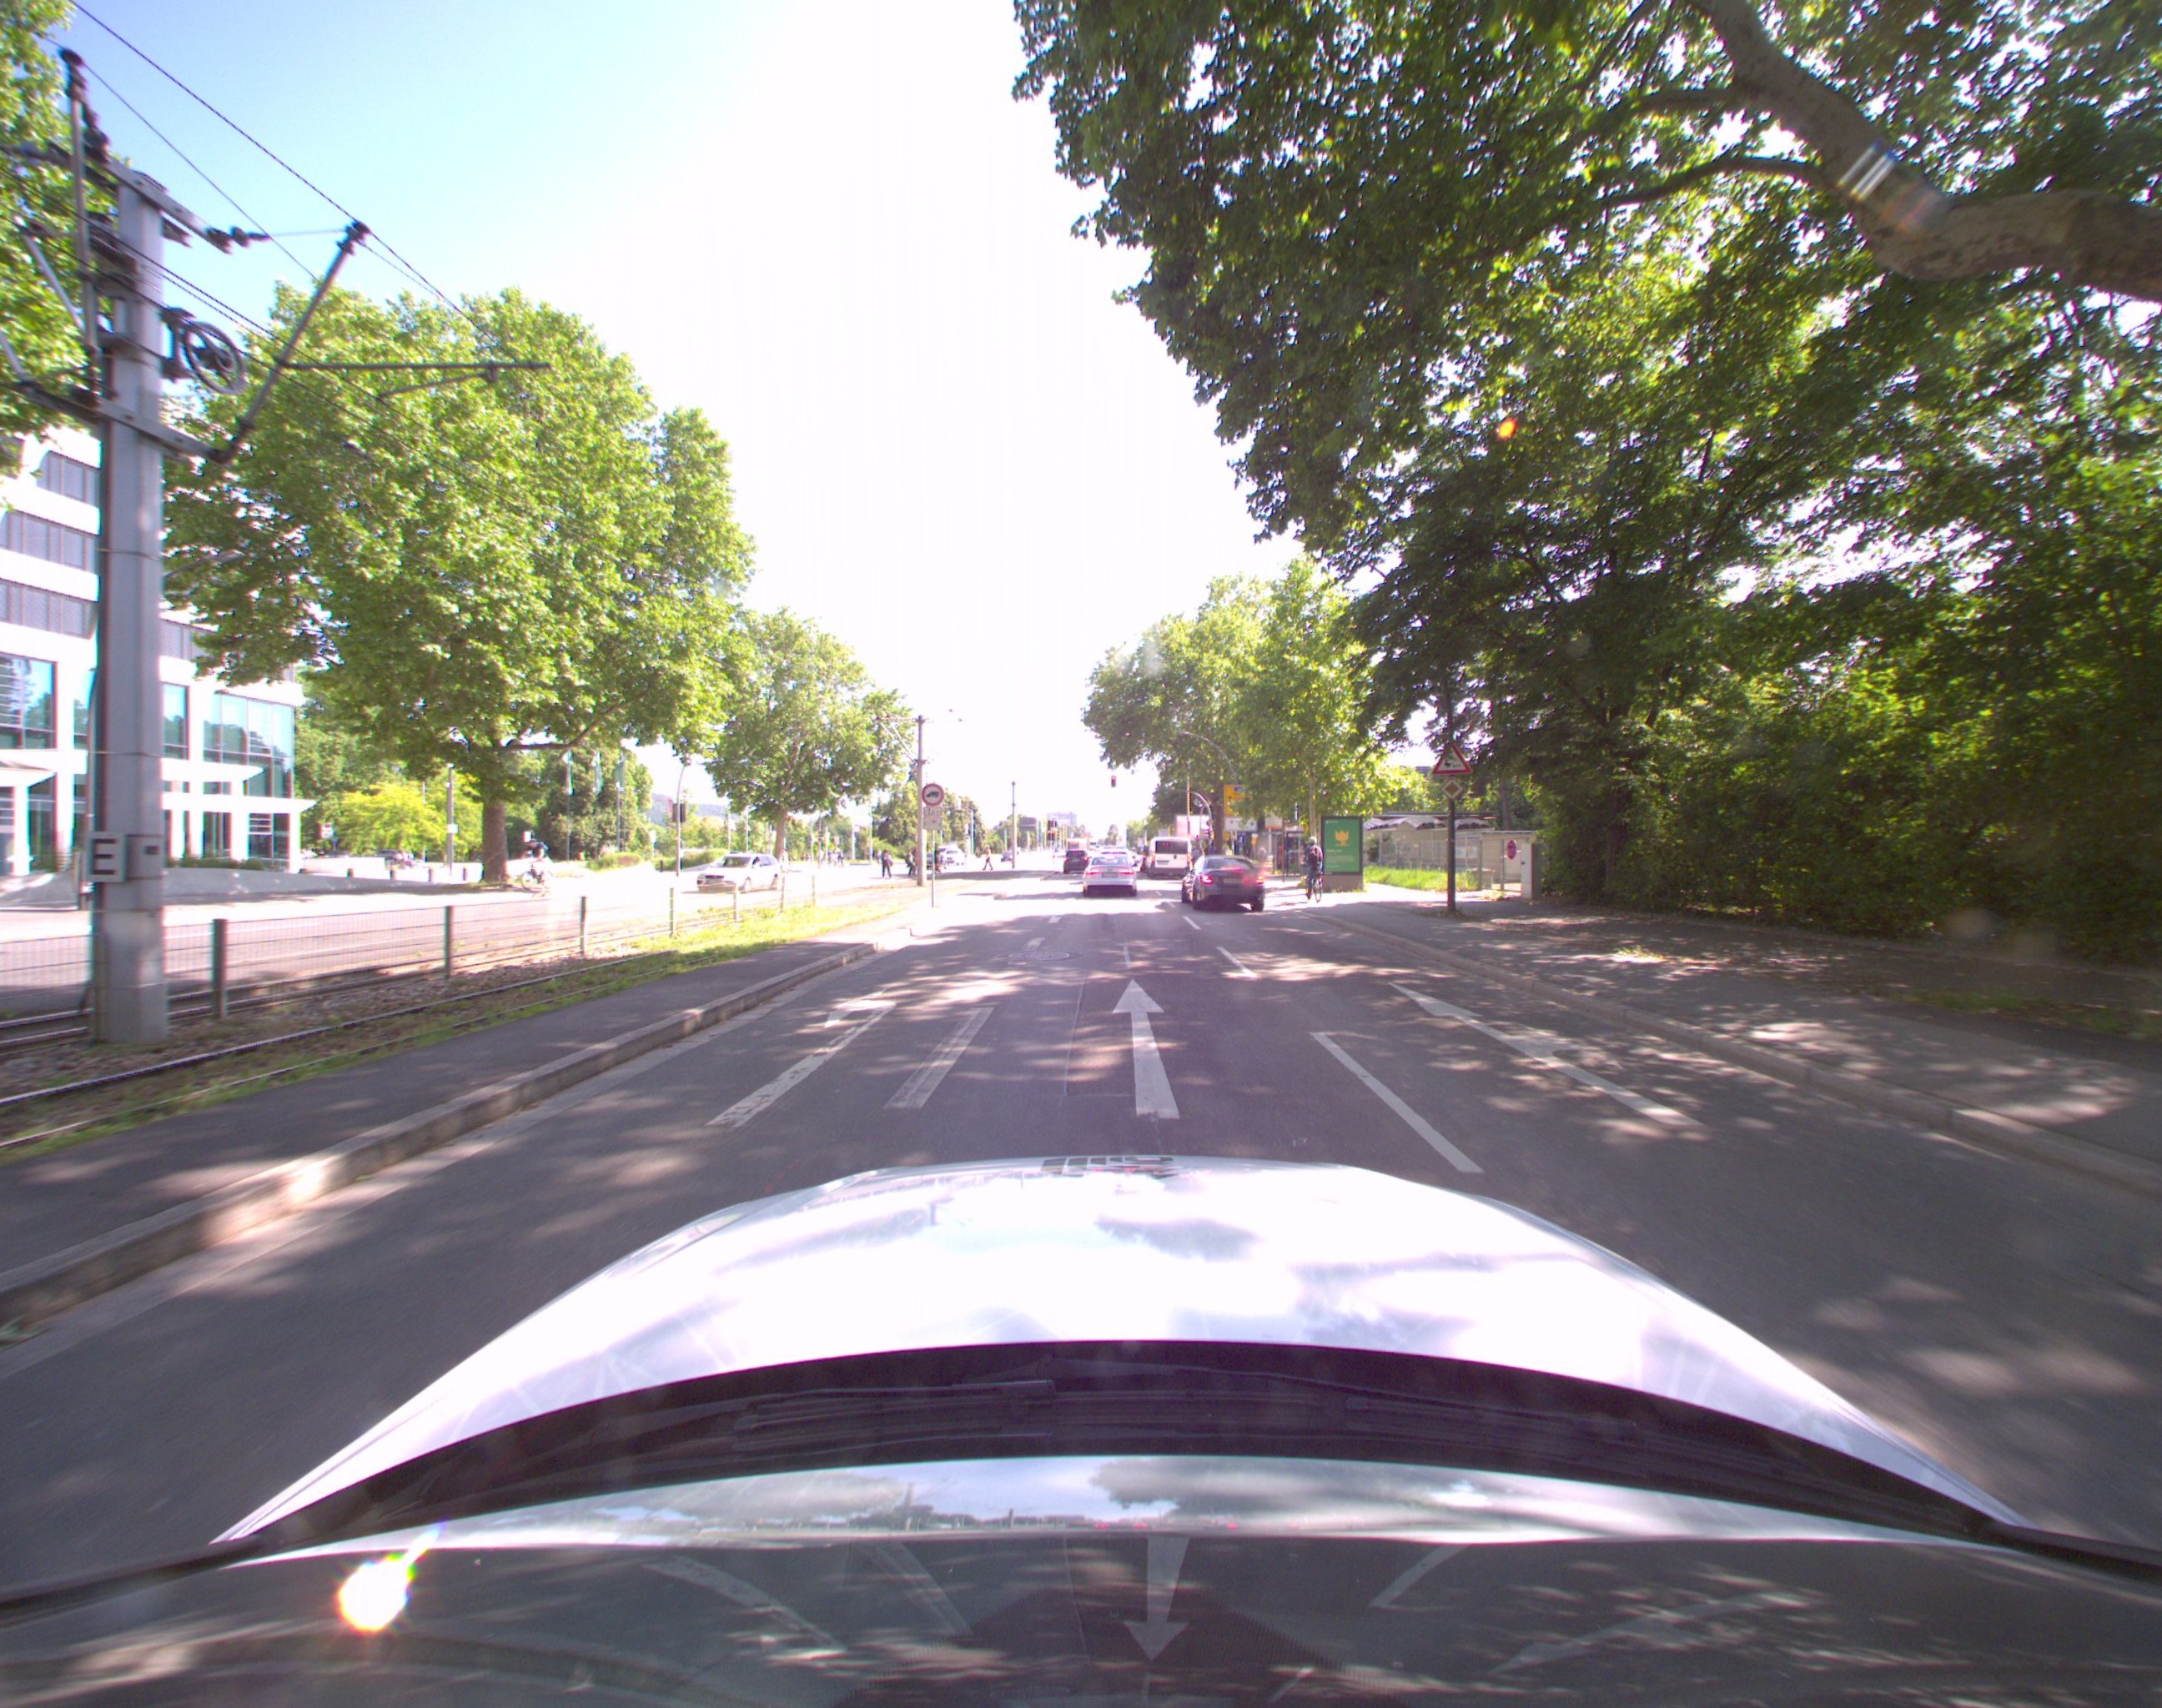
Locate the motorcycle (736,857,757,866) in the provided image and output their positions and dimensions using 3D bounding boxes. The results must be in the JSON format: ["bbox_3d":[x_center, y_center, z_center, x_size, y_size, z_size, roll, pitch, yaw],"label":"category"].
[{"bbox_3d":[-31.515,0.699,76.694,1.637,0.891,0.650,0,0,2],"label":"motorcycle"}]

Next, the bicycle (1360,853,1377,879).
[{"bbox_3d":[13.340,0.565,37.816,0.387,1.180,1.174,0,0,3],"label":"bicycle"}]

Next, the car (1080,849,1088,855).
[{"bbox_3d":[0.841,-0.610,231.027,1.862,1.609,4.005,0,0,4],"label":"car"}]

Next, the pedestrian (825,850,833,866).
[{"bbox_3d":[-24.090,0.393,77.865,0.622,1.542,0.780,0,0,-8],"label":"pedestrian"}]

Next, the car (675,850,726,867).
[{"bbox_3d":[-35.086,0.441,75.196,3.832,1.549,1.770,0,0,2],"label":"car"}]

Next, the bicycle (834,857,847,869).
[{"bbox_3d":[-20.128,0.748,68.185,0.482,0.961,1.656,0,0,3],"label":"bicycle"}]

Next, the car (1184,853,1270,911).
[{"bbox_3d":[3.843,0.686,22.095,1.775,1.420,4.002,0,0,2],"label":"car"}]

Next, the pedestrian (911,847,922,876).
[{"bbox_3d":[-9.657,0.448,47.738,0.490,1.679,0.644,0,0,2],"label":"pedestrian"}]

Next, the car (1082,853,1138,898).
[{"bbox_3d":[1.014,0.674,28.067,1.778,1.420,3.887,0,0,2],"label":"car"}]

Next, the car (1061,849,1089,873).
[{"bbox_3d":[-0.364,0.466,56.637,1.722,1.631,4.002,0,0,2],"label":"car"}]

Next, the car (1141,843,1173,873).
[{"bbox_3d":[5.339,0.277,57.454,2.064,1.999,4.060,0,0,2],"label":"car"}]

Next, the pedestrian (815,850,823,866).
[{"bbox_3d":[-25.078,0.399,77.971,0.620,1.542,0.644,0,0,1],"label":"pedestrian"}]

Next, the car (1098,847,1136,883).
[{"bbox_3d":[1.733,0.497,39.099,1.722,1.605,3.887,0,0,2],"label":"car"}]

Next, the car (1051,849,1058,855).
[{"bbox_3d":[-7.495,-0.589,229.828,1.987,1.641,4.000,0,0,1],"label":"car"}]

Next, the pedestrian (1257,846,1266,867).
[{"bbox_3d":[15.126,0.223,68.245,0.772,1.788,0.767,0,0,13],"label":"pedestrian"}]

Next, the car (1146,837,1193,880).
[{"bbox_3d":[4.734,0.209,44.101,2.221,2.212,4.164,0,0,2],"label":"car"}]

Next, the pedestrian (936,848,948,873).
[{"bbox_3d":[-9.324,0.431,54.528,0.532,1.598,0.580,0,0,21],"label":"pedestrian"}]

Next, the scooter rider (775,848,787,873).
[{"bbox_3d":[-19.719,0.446,53.545,0.504,1.631,0.566,0,0,2],"label":"scooter rider"}]

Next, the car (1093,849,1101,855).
[{"bbox_3d":[4.513,-0.559,230.731,1.862,1.609,4.005,0,0,4],"label":"car"}]

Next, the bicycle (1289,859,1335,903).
[{"bbox_3d":[6.641,0.750,23.541,0.712,1.148,2.179,-3,0,1],"label":"bicycle"}]

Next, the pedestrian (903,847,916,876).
[{"bbox_3d":[-9.905,0.447,46.989,0.590,1.646,0.555,0,0,2],"label":"pedestrian"}]

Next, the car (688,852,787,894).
[{"bbox_3d":[-13.188,0.688,31.605,1.789,1.488,4.388,0,0,3],"label":"car"}]

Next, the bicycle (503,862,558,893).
[{"bbox_3d":[-20.393,0.844,30.199,0.664,1.094,1.885,0,0,3],"label":"bicycle"}]

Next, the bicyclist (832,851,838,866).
[{"bbox_3d":[-22.187,0.418,73.457,0.384,1.311,0.465,0,0,-2],"label":"bicyclist"}]

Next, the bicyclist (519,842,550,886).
[{"bbox_3d":[-20.385,0.375,30.397,0.572,1.604,0.839,0,0,2],"label":"bicyclist"}]

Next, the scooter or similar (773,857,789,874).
[{"bbox_3d":[-19.723,0.732,53.516,0.545,1.112,1.249,0,0,3],"label":"scooter or similar"}]

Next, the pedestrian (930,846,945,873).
[{"bbox_3d":[-9.467,0.371,53.814,0.769,1.734,0.756,0,0,10],"label":"pedestrian"}]

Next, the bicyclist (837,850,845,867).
[{"bbox_3d":[-20.121,0.372,68.210,0.477,1.416,0.592,0,0,2],"label":"bicyclist"}]

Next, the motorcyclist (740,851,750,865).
[{"bbox_3d":[-31.644,0.360,76.705,0.750,1.314,0.604,0,0,2],"label":"motorcyclist"}]

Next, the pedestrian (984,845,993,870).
[{"bbox_3d":[-7.222,0.295,63.673,0.621,1.918,0.690,0,0,2],"label":"pedestrian"}]

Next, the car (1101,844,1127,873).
[{"bbox_3d":[2.310,0.283,56.569,1.722,1.901,4.002,0,0,2],"label":"car"}]

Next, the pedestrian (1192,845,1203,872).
[{"bbox_3d":[7.646,0.301,53.530,0.600,1.694,0.954,-2,0,2],"label":"pedestrian"}]

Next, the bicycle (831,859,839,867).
[{"bbox_3d":[-22.197,0.802,73.469,0.419,0.748,1.145,0,0,-1],"label":"bicycle"}]

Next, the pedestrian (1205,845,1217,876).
[{"bbox_3d":[8.303,0.414,51.999,0.633,1.946,0.719,0,0,2],"label":"pedestrian"}]

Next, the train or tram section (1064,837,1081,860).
[{"bbox_3d":[-1.419,-0.984,143.327,2.606,4.015,7.754,0,0,3],"label":"train or tram section"}]

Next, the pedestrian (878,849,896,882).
[{"bbox_3d":[-9.828,0.574,41.277,0.760,1.623,0.590,0,0,-23],"label":"pedestrian"}]

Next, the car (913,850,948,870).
[{"bbox_3d":[-12.305,0.456,66.819,1.863,1.609,4.003,0,0,3],"label":"car"}]

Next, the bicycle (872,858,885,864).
[{"bbox_3d":[-24.796,0.889,99.682,0.486,0.731,1.632,0,0,31],"label":"bicycle"}]

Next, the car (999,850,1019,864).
[{"bbox_3d":[-9.150,0.352,103.557,1.985,1.734,4.003,0,0,3],"label":"car"}]

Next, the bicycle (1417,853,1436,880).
[{"bbox_3d":[15.704,0.553,37.017,0.387,1.180,1.174,0,0,3],"label":"bicycle"}]

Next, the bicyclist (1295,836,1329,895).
[{"bbox_3d":[6.617,0.316,23.359,0.632,1.648,0.979,-2,0,1],"label":"bicyclist"}]

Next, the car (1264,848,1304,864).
[{"bbox_3d":[20.835,0.211,83.564,3.762,1.672,1.794,0,0,3],"label":"car"}]

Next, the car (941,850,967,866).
[{"bbox_3d":[-12.599,0.371,80.781,1.756,1.609,3.863,0,0,3],"label":"car"}]
